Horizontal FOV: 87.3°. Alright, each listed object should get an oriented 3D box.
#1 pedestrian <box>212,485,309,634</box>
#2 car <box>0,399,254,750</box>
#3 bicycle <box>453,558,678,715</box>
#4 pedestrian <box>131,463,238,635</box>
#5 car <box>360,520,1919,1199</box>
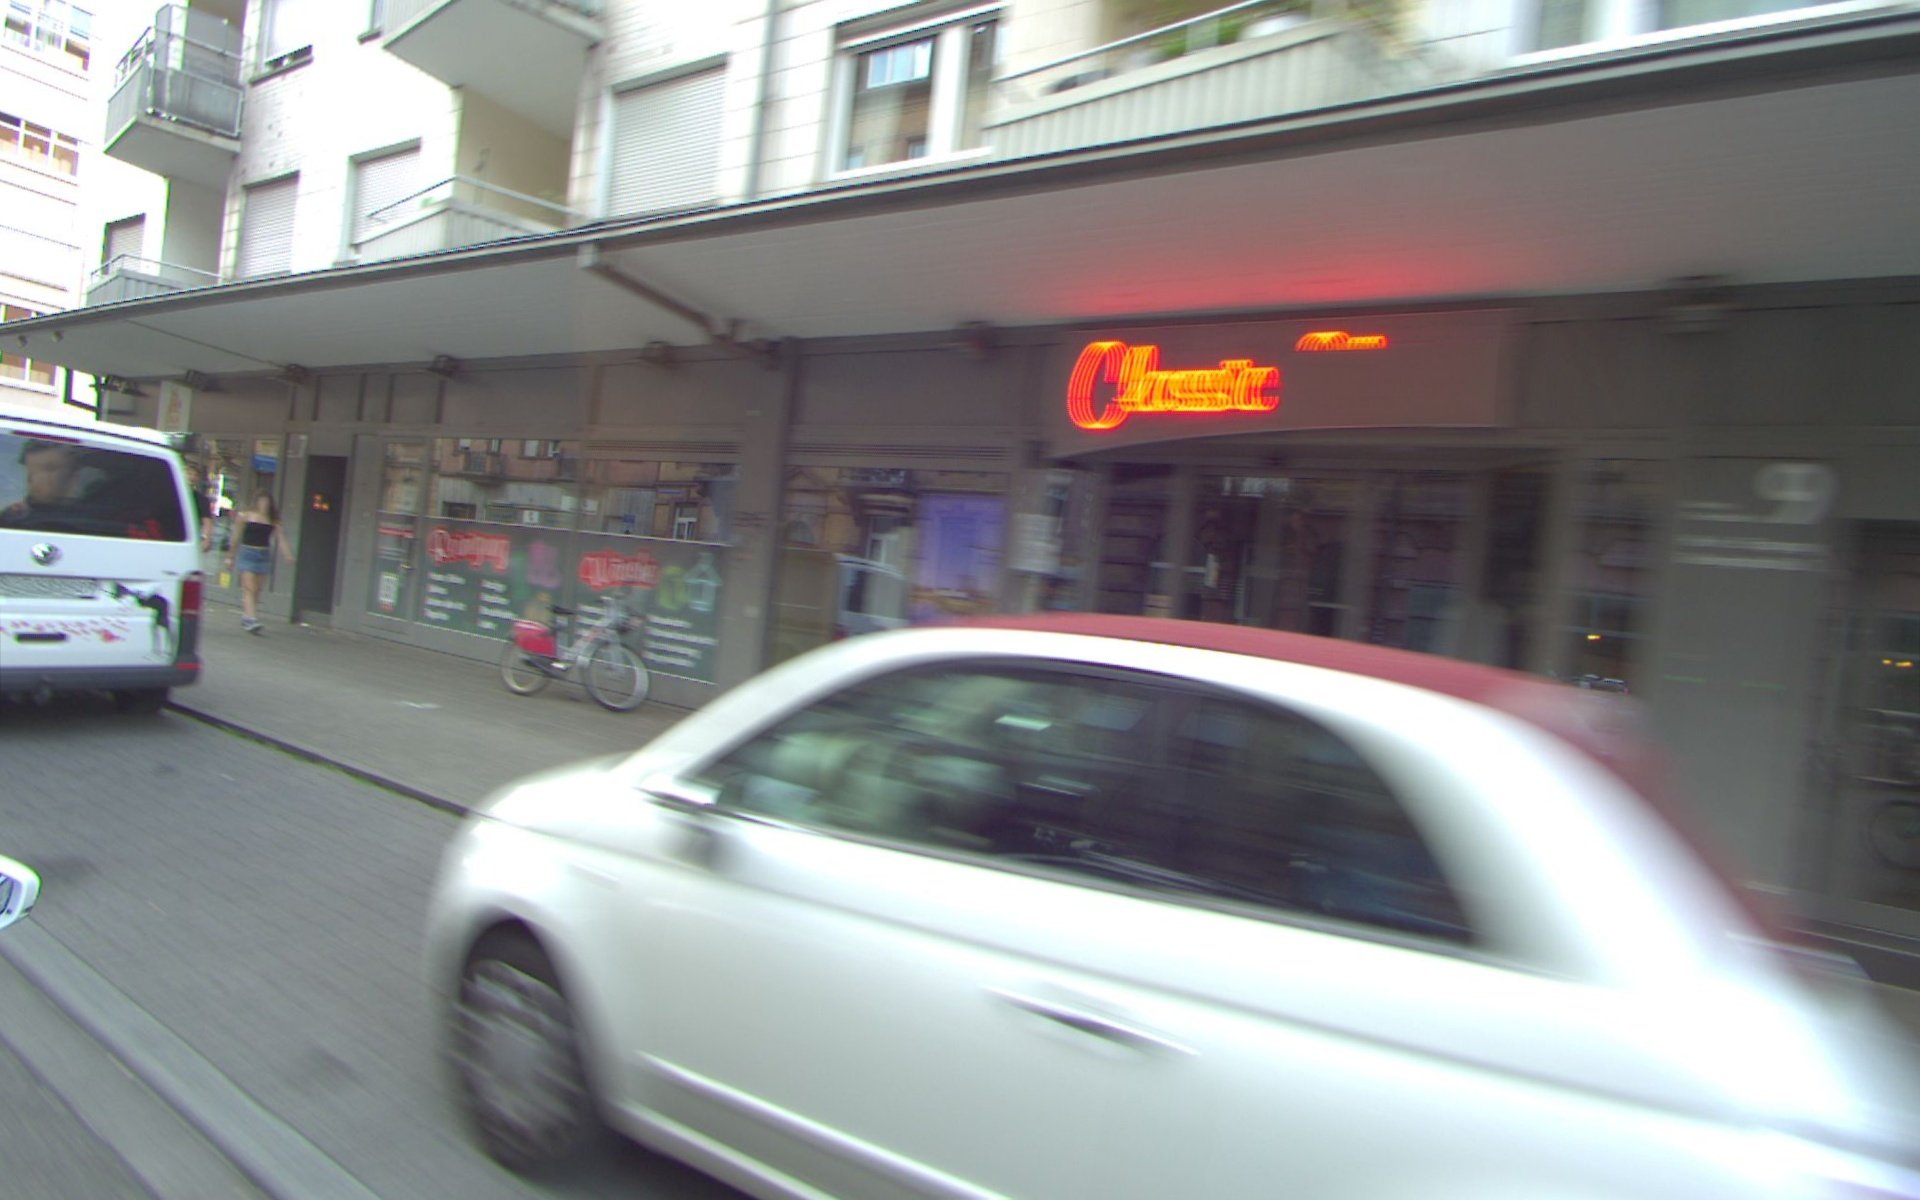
[{"bbox_3d":[-8.342,-0.475,11.996,0.734,1.687,0.707,6,2,41],"label":"pedestrian"},{"bbox_3d":[-7.372,-0.369,7.261,4.921,2.000,1.959,7,2,33],"label":"car"},{"bbox_3d":[-3.641,0.308,9.321,1.679,1.211,0.912,6,2,19],"label":"bicycle"},{"bbox_3d":[-8.828,-0.568,11.450,0.848,1.852,0.707,6,2,39],"label":"pedestrian"},{"bbox_3d":[0.267,0.736,2.560,3.366,1.521,1.593,7,2,30],"label":"car"}]
